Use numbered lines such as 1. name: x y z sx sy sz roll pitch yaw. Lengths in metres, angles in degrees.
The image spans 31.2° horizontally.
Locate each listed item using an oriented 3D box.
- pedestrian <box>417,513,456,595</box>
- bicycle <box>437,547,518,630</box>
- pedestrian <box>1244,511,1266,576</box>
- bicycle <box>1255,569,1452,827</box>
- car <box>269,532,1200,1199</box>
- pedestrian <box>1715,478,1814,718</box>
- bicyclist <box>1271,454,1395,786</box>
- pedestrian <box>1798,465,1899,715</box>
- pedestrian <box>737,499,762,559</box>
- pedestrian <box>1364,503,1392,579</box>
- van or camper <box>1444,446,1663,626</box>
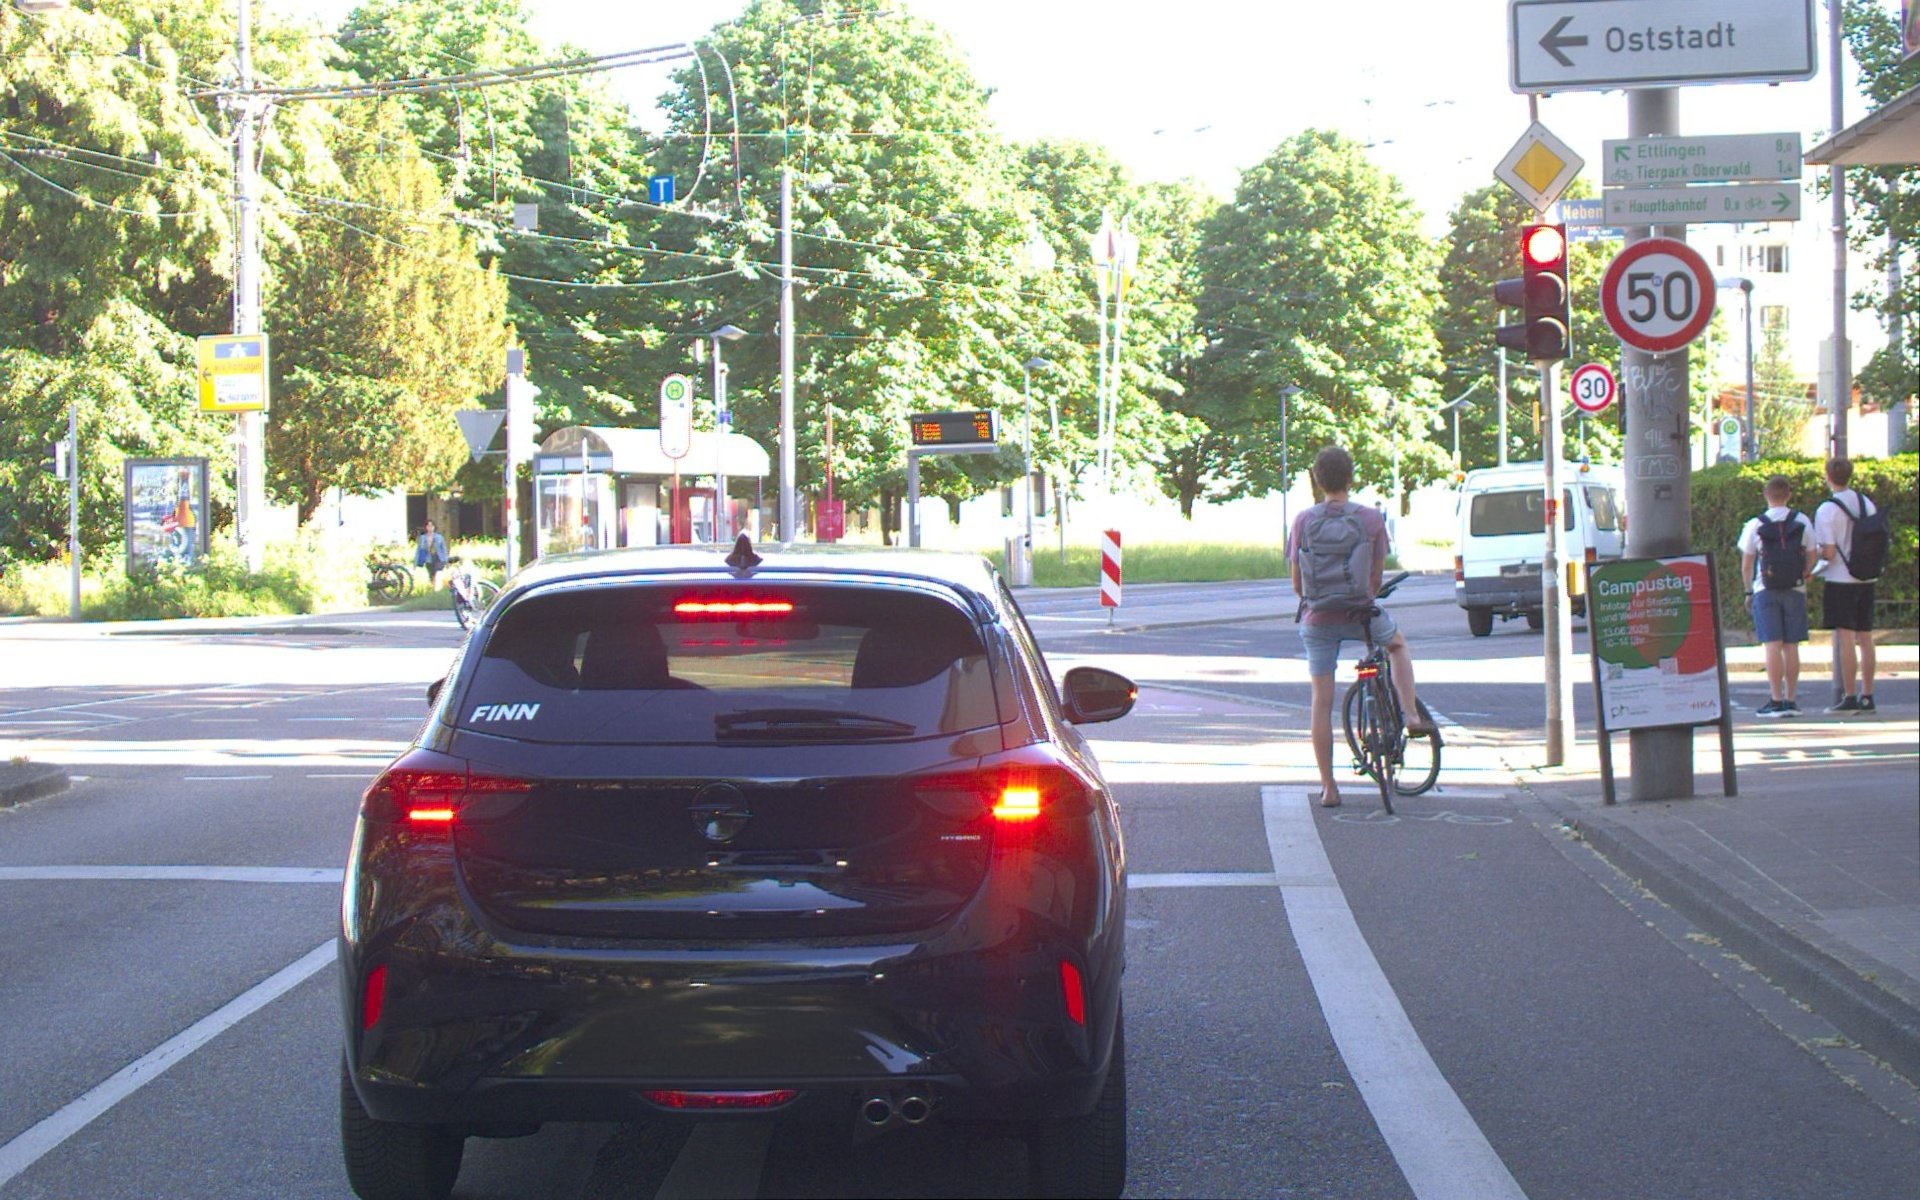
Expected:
1. pedestrian: -9.400 -0.831 61.743 0.570 1.467 0.665 0 1 2
2. bicycle: -6.467 -0.161 46.151 0.796 1.061 2.185 0 1 -1
3. pedestrian: 8.544 -1.636 99.594 0.604 1.865 0.519 1 0 6
4. bicycle: 2.076 0.472 17.906 0.753 1.231 2.014 0 1 14
5. car: -0.469 0.567 8.808 1.840 1.457 3.984 0 1 -1
6. pedestrian: 5.983 -0.020 25.563 0.633 1.757 0.582 1 0 20
7. bicyclist: 1.934 0.093 17.791 0.534 1.686 0.567 0 1 17
8. pedestrian: 6.579 -0.082 25.433 0.633 1.814 0.744 1 0 20
9. pedestrian: -6.588 -2.220 107.490 0.737 1.865 0.662 1 0 -6
10. pedestrian: 10.382 -1.469 85.454 0.604 1.865 0.519 1 0 14
11. van or camper: 8.053 -0.840 46.322 2.031 2.302 4.535 1 1 21
